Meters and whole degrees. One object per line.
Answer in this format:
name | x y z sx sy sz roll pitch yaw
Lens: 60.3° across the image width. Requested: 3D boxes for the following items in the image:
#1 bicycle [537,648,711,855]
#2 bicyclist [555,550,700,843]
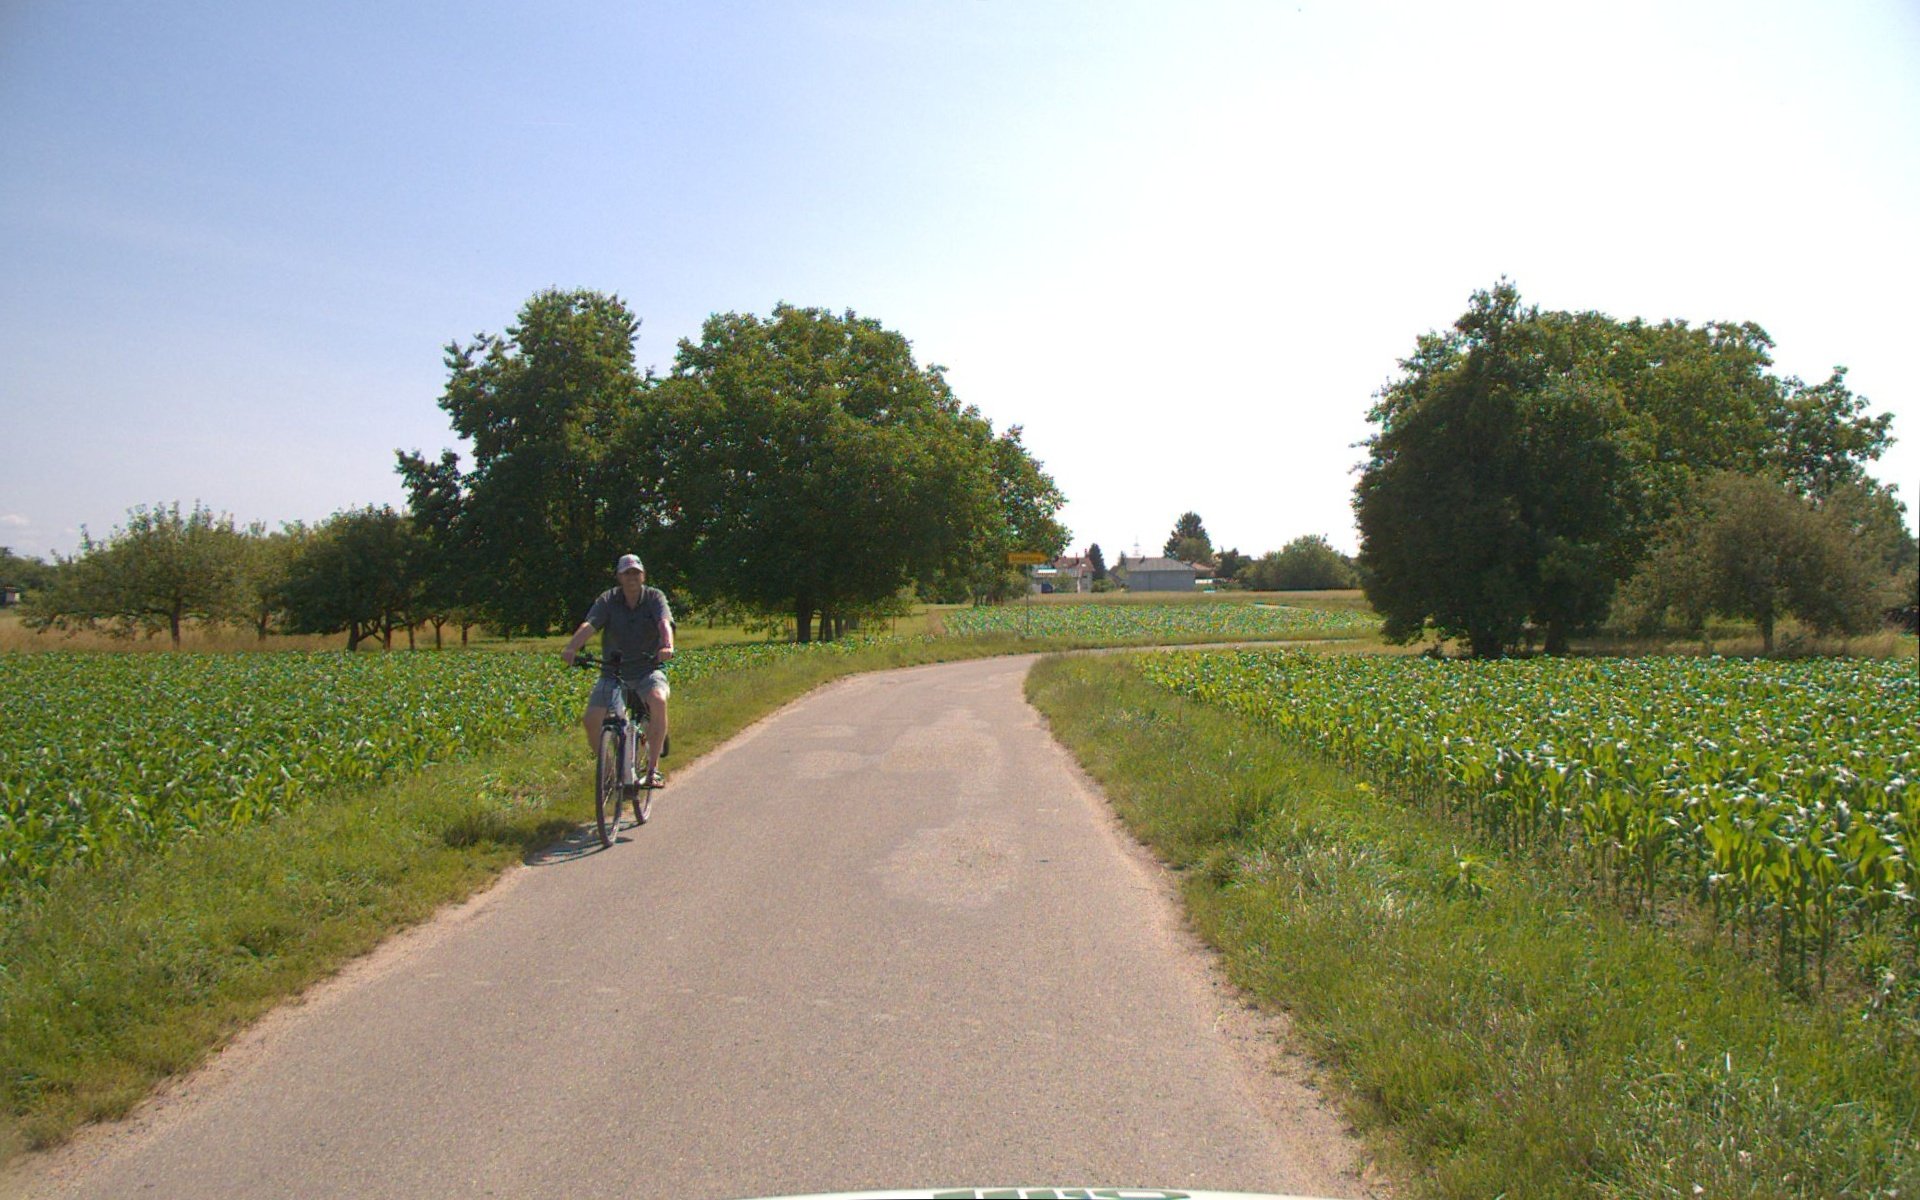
bicycle | -2.157 0.935 10.854 0.735 1.147 1.908 -3 0 -1
bicyclist | -2.167 0.613 10.857 0.735 1.822 0.717 -3 0 -1
